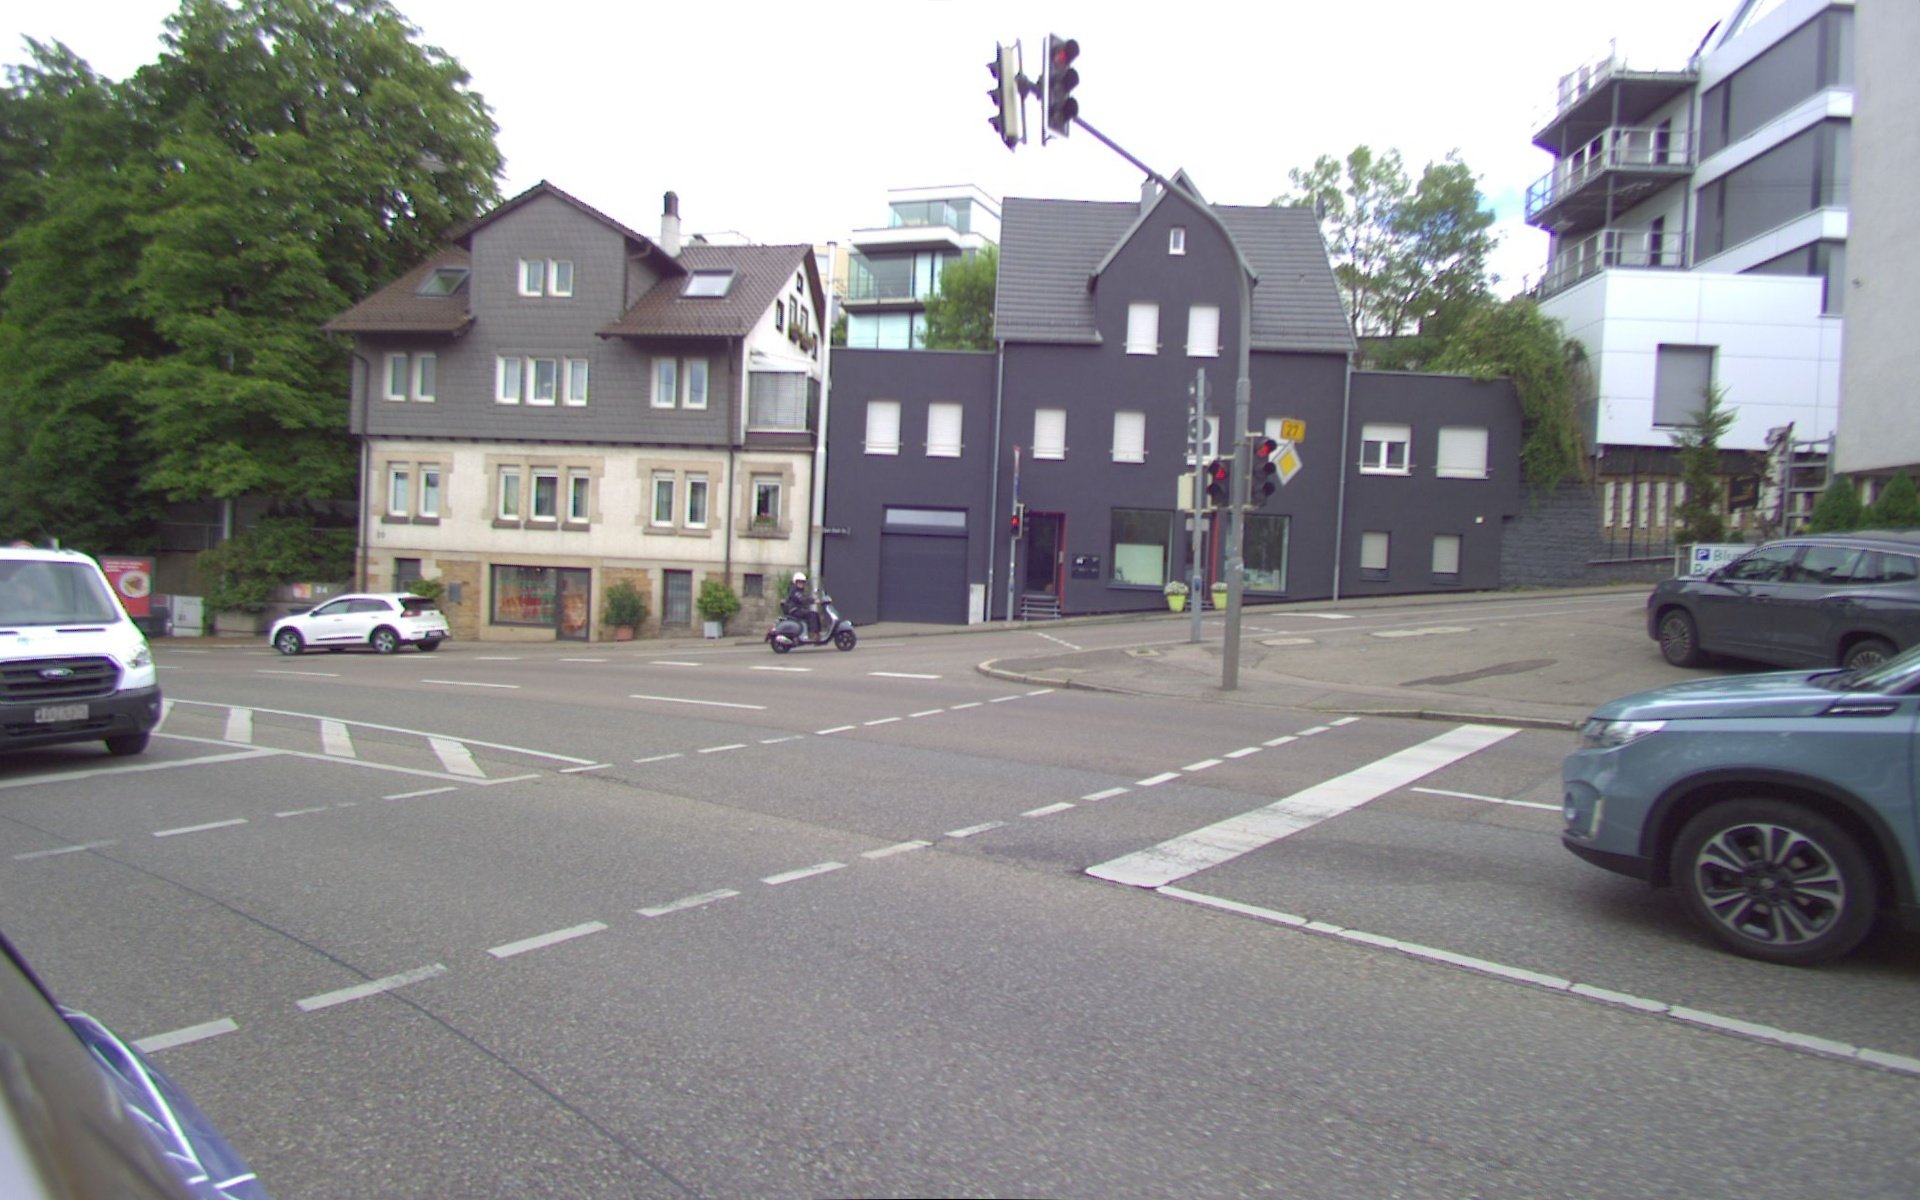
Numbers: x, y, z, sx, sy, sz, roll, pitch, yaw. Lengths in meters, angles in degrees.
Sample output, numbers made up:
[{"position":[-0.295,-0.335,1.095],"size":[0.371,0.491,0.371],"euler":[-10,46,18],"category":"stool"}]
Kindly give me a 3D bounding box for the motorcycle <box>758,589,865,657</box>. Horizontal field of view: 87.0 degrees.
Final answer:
[{"position":[-3.042,0.462,20.833],"size":[2.020,1.308,0.829],"euler":[-1,2,5],"category":"motorcycle"}]

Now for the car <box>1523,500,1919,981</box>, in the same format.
[{"position":[4.700,0.475,3.594],"size":[1.874,1.708,4.351],"euler":[-1,0,-44],"category":"car"}]

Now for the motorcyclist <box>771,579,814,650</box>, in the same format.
[{"position":[-3.437,0.290,20.839],"size":[0.714,1.429,0.683],"euler":[-1,0,6],"category":"motorcyclist"}]

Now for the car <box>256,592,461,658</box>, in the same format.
[{"position":[-15.585,0.632,26.338],"size":[4.337,1.579,1.885],"euler":[-1,1,7],"category":"car"}]

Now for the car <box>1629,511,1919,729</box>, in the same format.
[{"position":[9.590,0.038,10.482],"size":[2.288,1.724,4.702],"euler":[-4,5,3],"category":"car"}]

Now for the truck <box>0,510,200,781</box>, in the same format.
[{"position":[-10.879,0.432,10.624],"size":[6.300,2.338,2.063],"euler":[-1,1,27],"category":"truck"}]

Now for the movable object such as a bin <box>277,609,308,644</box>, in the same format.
[{"position":[-20.701,0.823,31.402],"size":[0.642,1.027,0.536],"euler":[2,1,20],"category":"movable object such as a bin"}]
